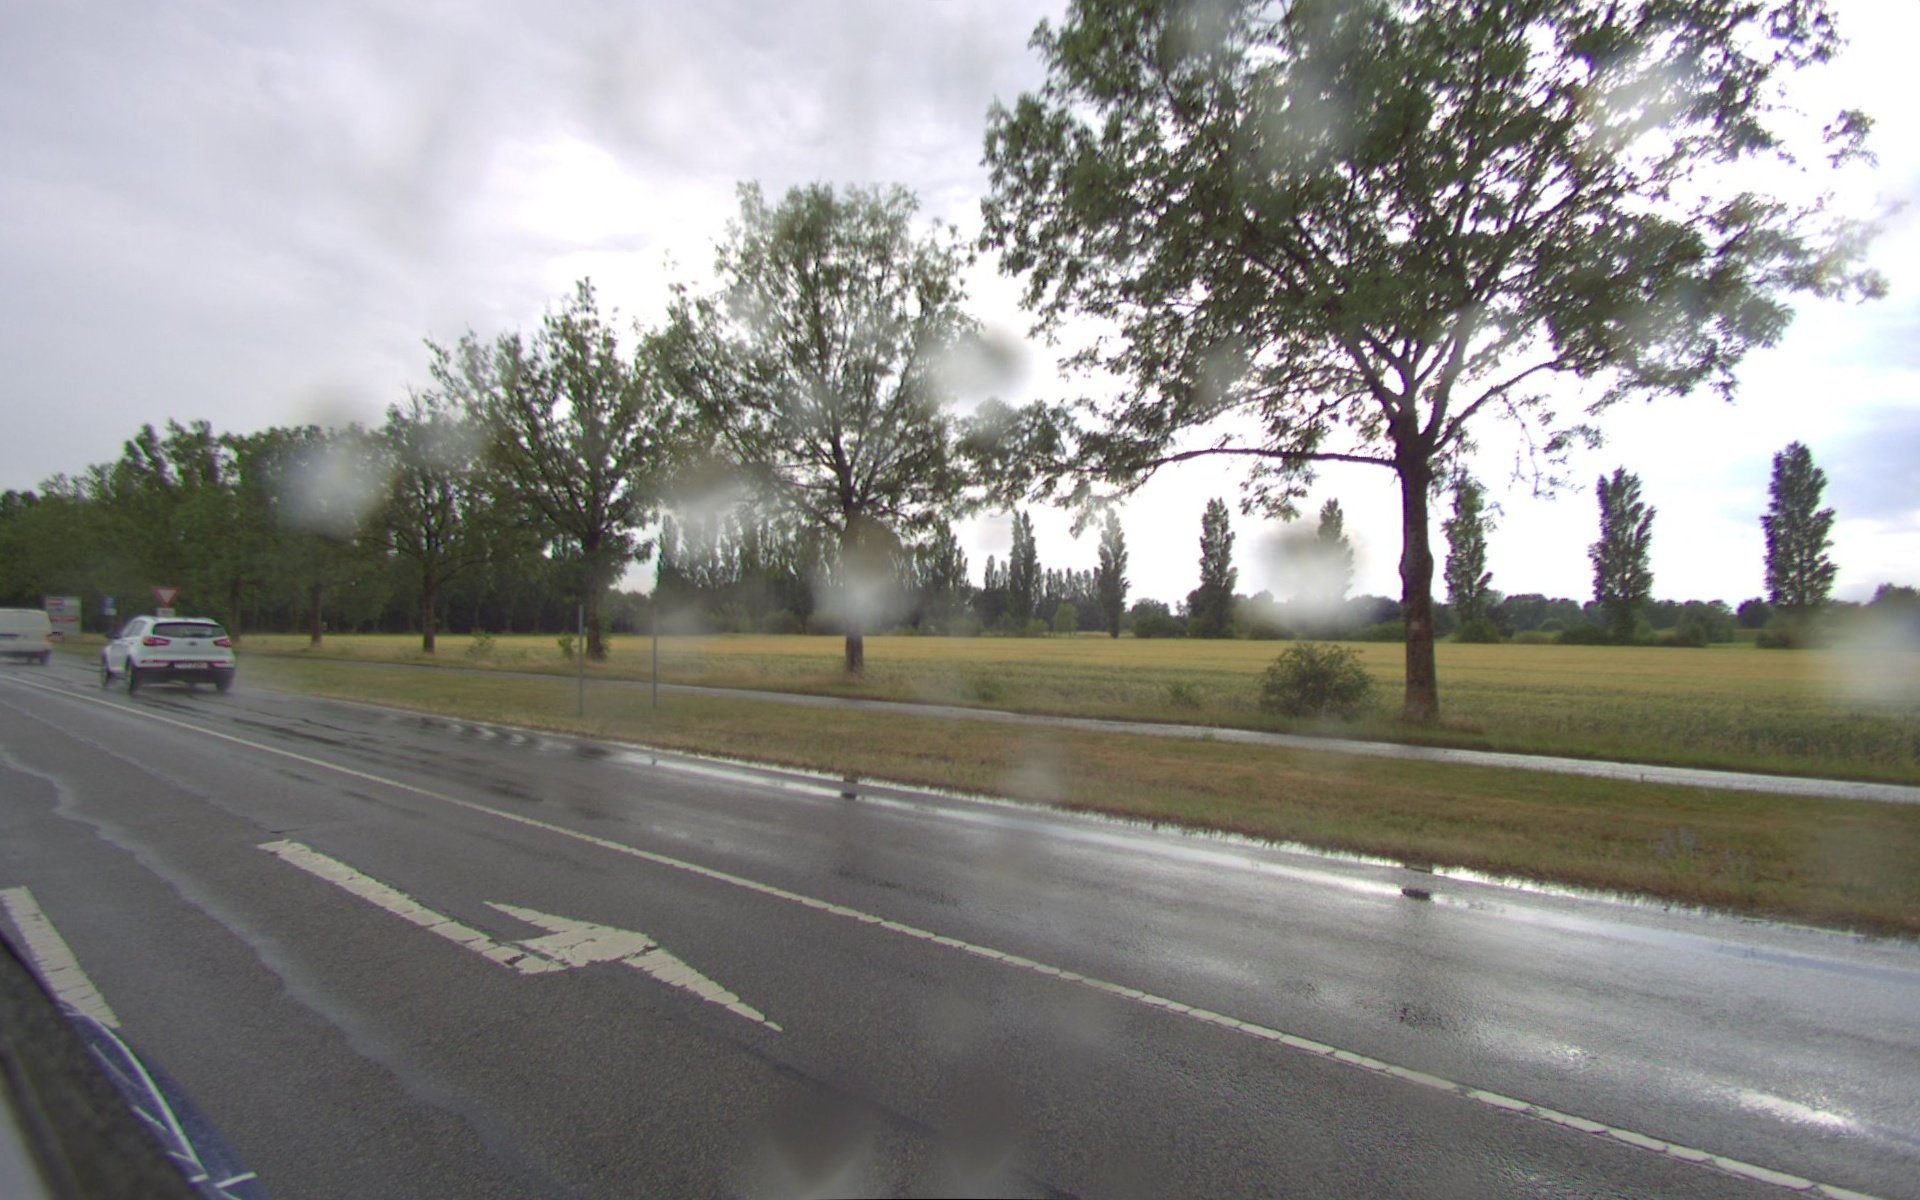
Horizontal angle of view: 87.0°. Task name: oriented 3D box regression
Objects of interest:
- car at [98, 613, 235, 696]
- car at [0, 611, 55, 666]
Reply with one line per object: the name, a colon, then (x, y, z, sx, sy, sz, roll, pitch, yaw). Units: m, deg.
car: (-17.784, 1.199, 22.619, 4.155, 1.684, 1.685, -1, -4, 42)
car: (-34.957, 1.392, 37.166, 4.682, 1.876, 1.896, -1, -4, 41)
